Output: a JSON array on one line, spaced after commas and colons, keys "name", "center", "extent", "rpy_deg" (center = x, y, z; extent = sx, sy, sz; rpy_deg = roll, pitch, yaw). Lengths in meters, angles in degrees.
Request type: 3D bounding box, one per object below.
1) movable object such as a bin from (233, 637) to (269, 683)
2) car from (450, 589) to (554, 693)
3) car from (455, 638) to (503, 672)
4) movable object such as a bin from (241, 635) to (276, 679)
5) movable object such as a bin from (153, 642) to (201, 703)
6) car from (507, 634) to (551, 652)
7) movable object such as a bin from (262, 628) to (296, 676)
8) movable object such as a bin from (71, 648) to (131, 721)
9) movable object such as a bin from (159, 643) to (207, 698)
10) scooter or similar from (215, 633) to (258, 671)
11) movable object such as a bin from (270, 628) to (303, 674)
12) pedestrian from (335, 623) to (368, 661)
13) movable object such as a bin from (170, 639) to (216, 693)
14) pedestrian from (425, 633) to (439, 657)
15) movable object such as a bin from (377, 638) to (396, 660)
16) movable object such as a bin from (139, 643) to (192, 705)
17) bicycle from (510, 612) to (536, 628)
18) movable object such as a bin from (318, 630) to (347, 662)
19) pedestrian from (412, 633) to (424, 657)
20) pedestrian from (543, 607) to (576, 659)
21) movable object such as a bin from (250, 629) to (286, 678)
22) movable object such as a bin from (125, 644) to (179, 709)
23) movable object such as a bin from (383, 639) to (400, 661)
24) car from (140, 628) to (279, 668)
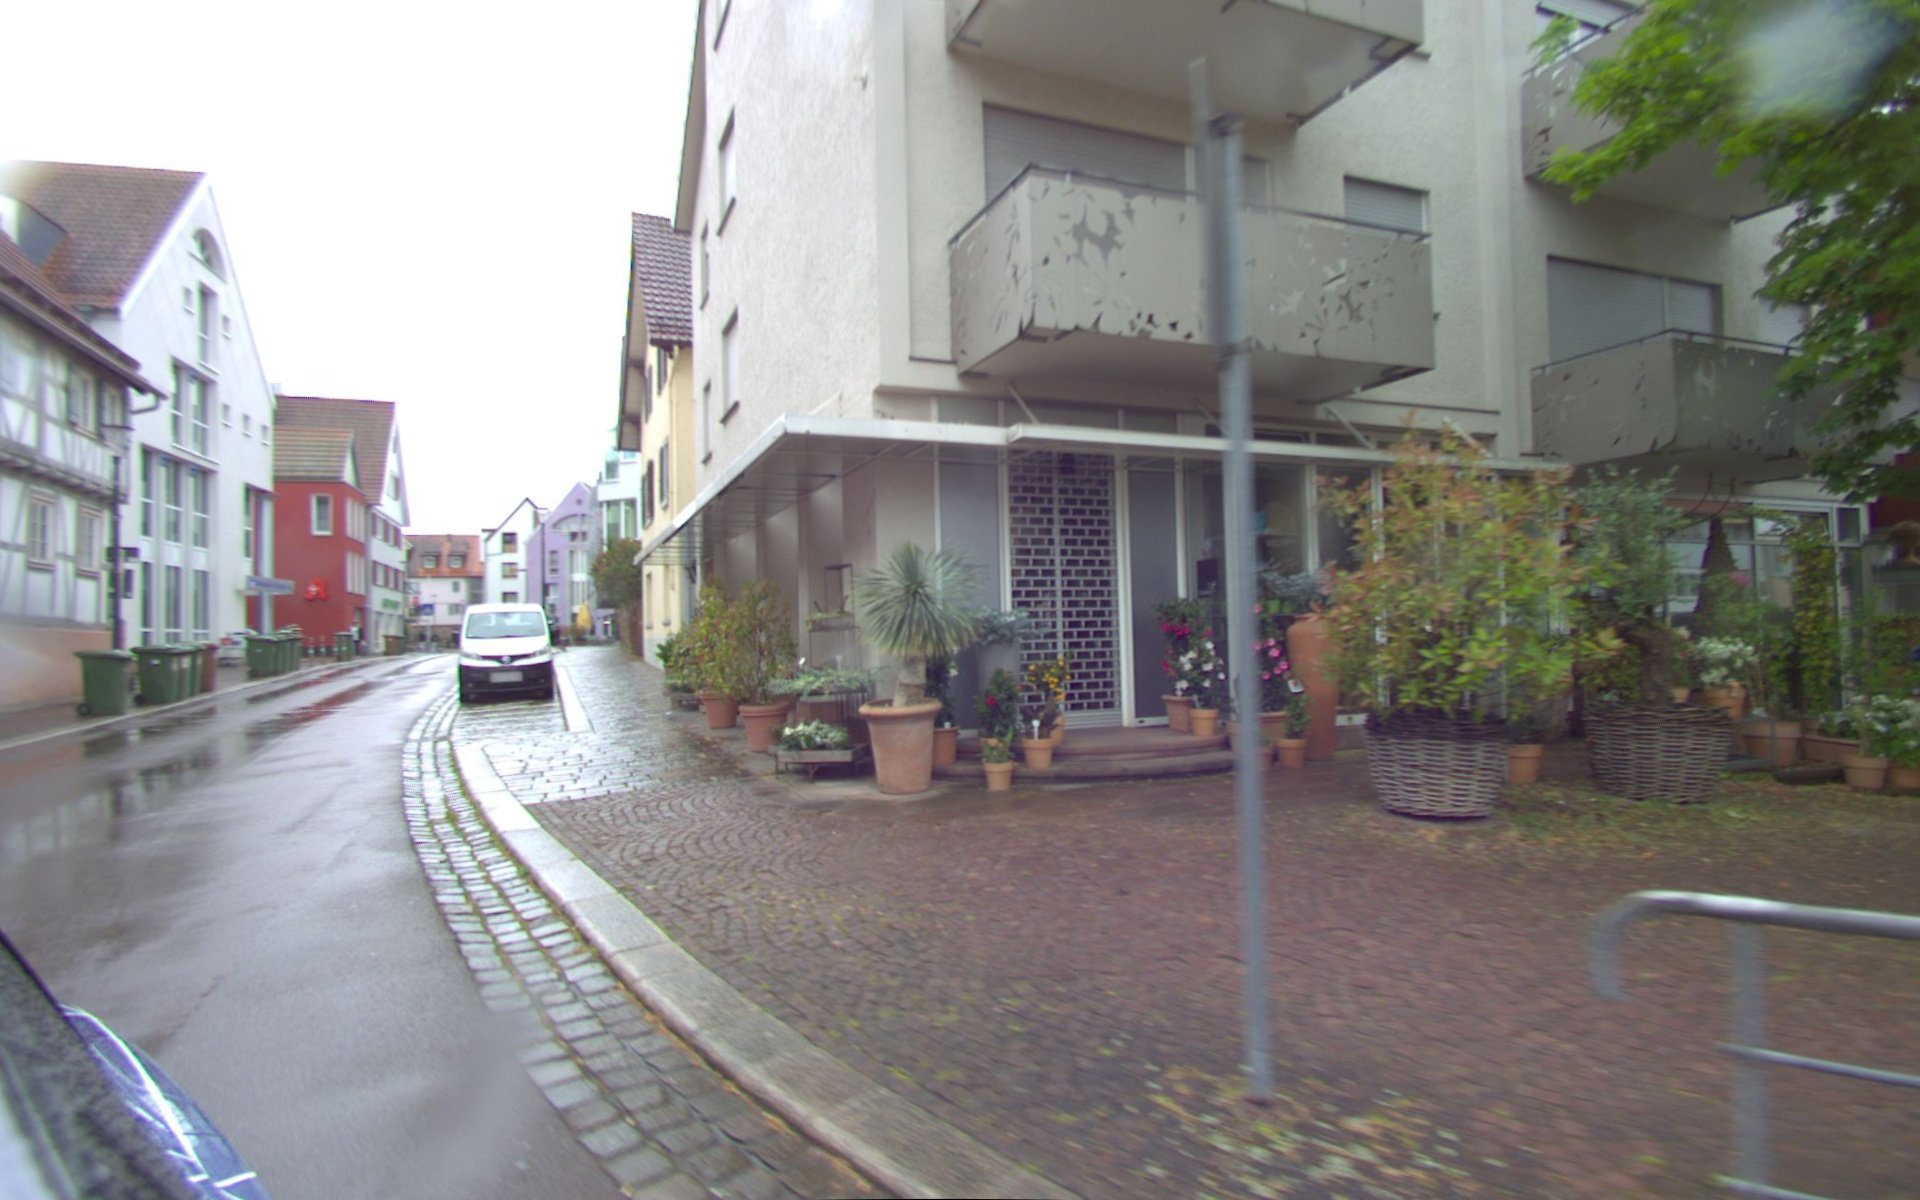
[{"name": "movable object such as a bin", "center": [-18.455, 1.555, 26.340], "extent": [0.607, 1.140, 0.634], "rpy_deg": [-1, -1, -19]}, {"name": "car", "center": [-9.212, 0.764, 20.421], "extent": [1.699, 1.839, 4.443], "rpy_deg": [-1, 0, -24]}, {"name": "car", "center": [-23.327, 2.646, 49.212], "extent": [1.804, 1.510, 4.778], "rpy_deg": [0, -2, -22]}, {"name": "movable object such as a bin", "center": [-18.693, 1.509, 26.988], "extent": [0.607, 1.140, 0.634], "rpy_deg": [-1, -1, -18]}, {"name": "movable object such as a bin", "center": [-15.682, 1.437, 20.275], "extent": [0.629, 1.156, 0.634], "rpy_deg": [-1, -1, -26]}, {"name": "car", "center": [-44.028, 4.394, 103.385], "extent": [3.931, 1.595, 1.838], "rpy_deg": [-1, 0, -16]}, {"name": "movable object such as a bin", "center": [-19.207, 1.459, 28.542], "extent": [0.629, 1.300, 0.634], "rpy_deg": [-1, -1, -18]}, {"name": "movable object such as a bin", "center": [-14.215, 1.387, 16.755], "extent": [0.600, 1.136, 0.601], "rpy_deg": [-1, -1, -23]}, {"name": "movable object such as a bin", "center": [-16.011, 1.436, 20.867], "extent": [0.660, 1.089, 0.590], "rpy_deg": [0, -1, -25]}, {"name": "scooter or similar", "center": [-23.143, 1.658, 32.402], "extent": [0.656, 1.154, 1.450], "rpy_deg": [-1, 0, -17]}, {"name": "movable object such as a bin", "center": [-19.608, 1.482, 29.471], "extent": [0.629, 1.300, 0.634], "rpy_deg": [-1, -1, -18]}, {"name": "pedestrian", "center": [-28.103, 1.935, 46.770], "extent": [1.161, 1.710, 1.181], "rpy_deg": [1, -3, -26]}, {"name": "movable object such as a bin", "center": [-16.616, 1.427, 21.951], "extent": [0.668, 1.105, 0.652], "rpy_deg": [-2, -1, -27]}, {"name": "pedestrian", "center": [-43.111, 3.649, 82.682], "extent": [0.805, 1.919, 0.764], "rpy_deg": [-2, -1, 41]}, {"name": "movable object such as a bin", "center": [-28.488, 2.426, 50.298], "extent": [0.719, 1.089, 0.648], "rpy_deg": [-1, -2, -22]}, {"name": "movable object such as a bin", "center": [-15.364, 1.422, 19.591], "extent": [0.629, 1.156, 0.605], "rpy_deg": [-1, -1, -18]}, {"name": "bicycle", "center": [-32.236, 1.464, 74.652], "extent": [1.725, 1.173, 0.445], "rpy_deg": [-1, -1, -43]}, {"name": "movable object such as a bin", "center": [-23.446, 1.723, 37.834], "extent": [0.792, 1.139, 0.865], "rpy_deg": [-1, -1, -25]}, {"name": "pedestrian", "center": [-44.052, 3.664, 82.263], "extent": [0.659, 1.917, 0.647], "rpy_deg": [-2, -4, 41]}, {"name": "pedestrian", "center": [-14.714, 1.216, 37.159], "extent": [1.020, 1.820, 1.120], "rpy_deg": [-2, -2, -23]}, {"name": "movable object such as a bin", "center": [-18.904, 1.449, 27.654], "extent": [0.629, 1.300, 0.634], "rpy_deg": [-1, -1, -18]}, {"name": "movable object such as a bin", "center": [-15.135, 1.425, 18.967], "extent": [0.629, 1.156, 0.582], "rpy_deg": [-1, -1, -18]}, {"name": "movable object such as a bin", "center": [-28.991, 2.538, 51.643], "extent": [0.666, 1.092, 0.700], "rpy_deg": [-1, -2, -22]}, {"name": "car", "center": [-29.563, 1.858, 39.987], "extent": [3.934, 1.526, 1.916], "rpy_deg": [0, -2, -12]}]
